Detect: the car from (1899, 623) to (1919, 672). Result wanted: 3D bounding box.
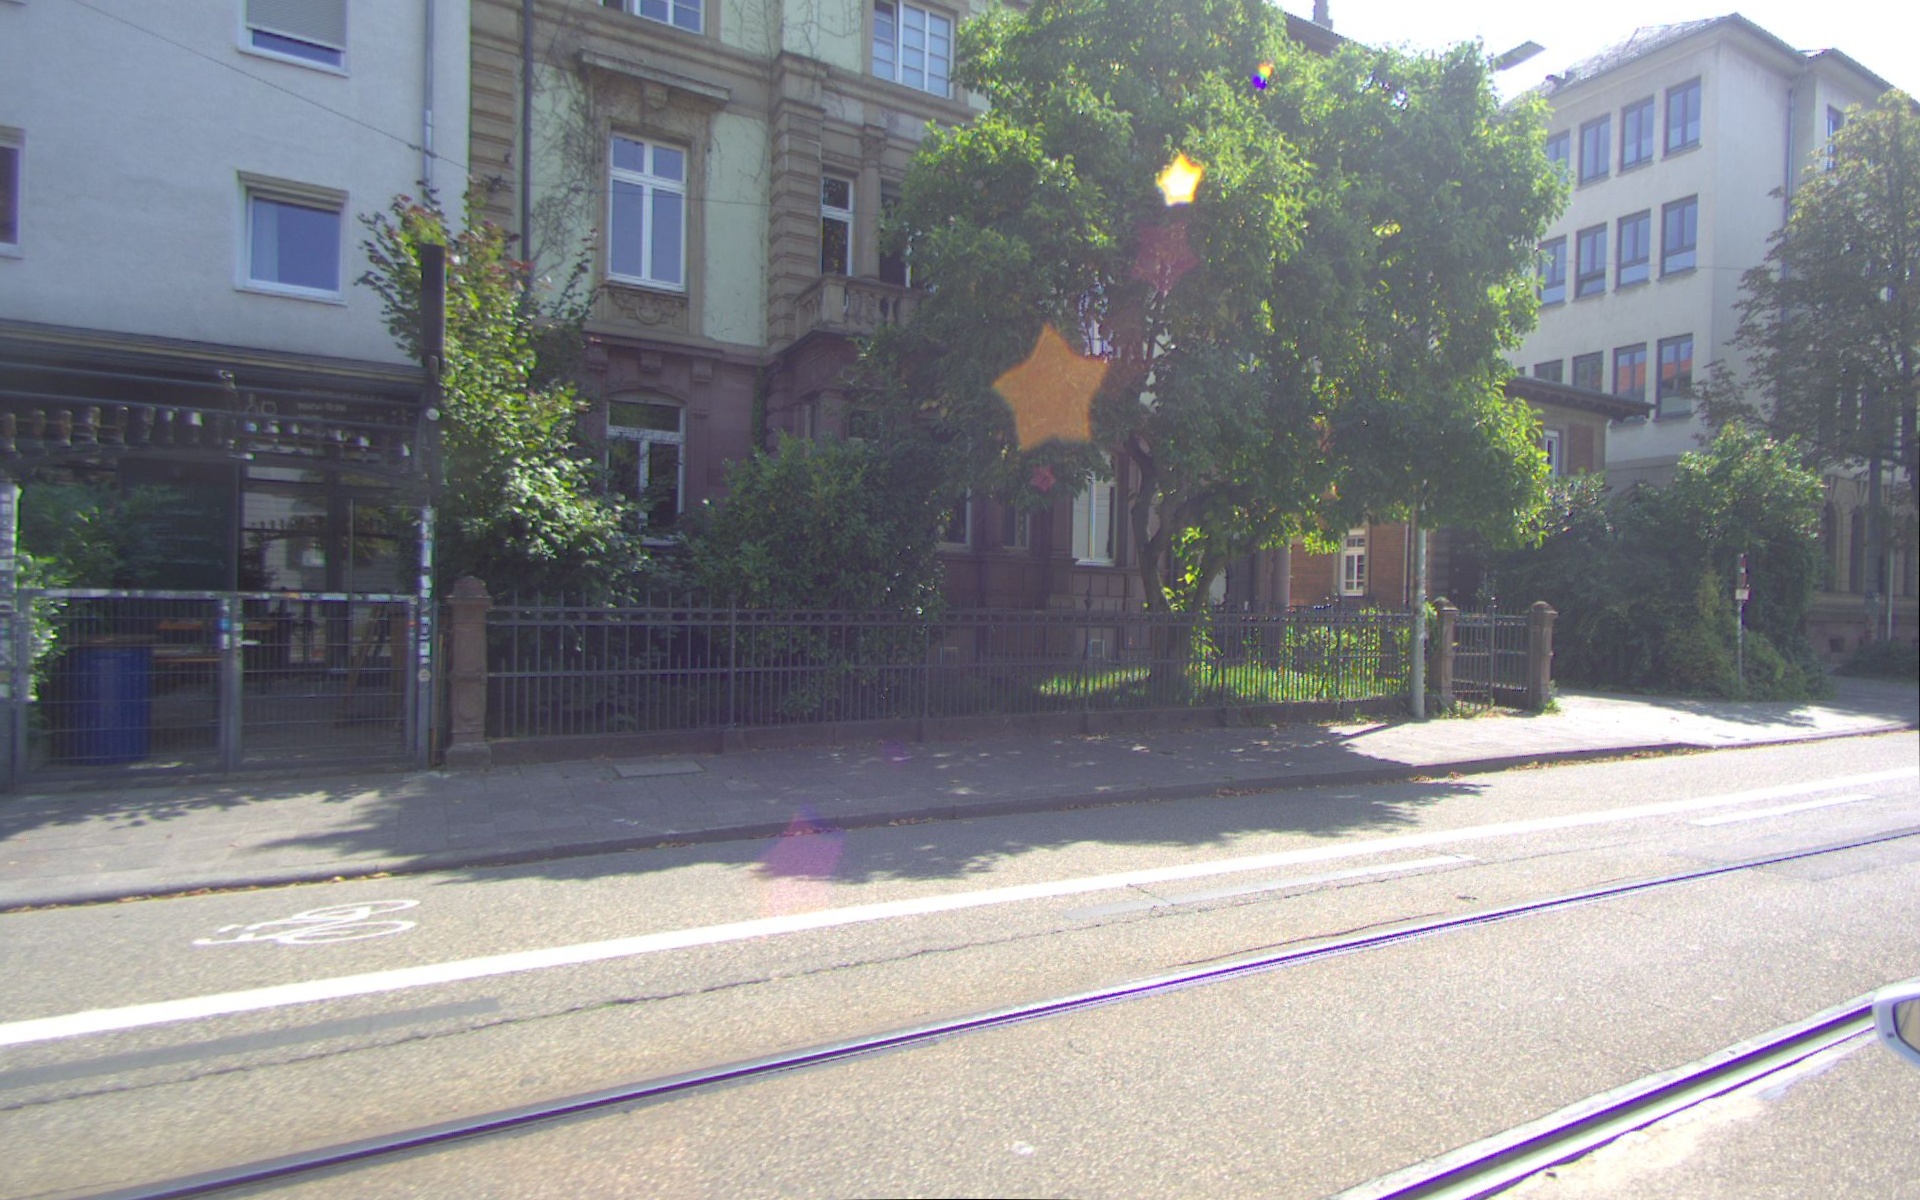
[{"bbox_3d":[31.702,1.538,30.528,4.356,1.481,1.815,2,1,36],"label":"car"}]
